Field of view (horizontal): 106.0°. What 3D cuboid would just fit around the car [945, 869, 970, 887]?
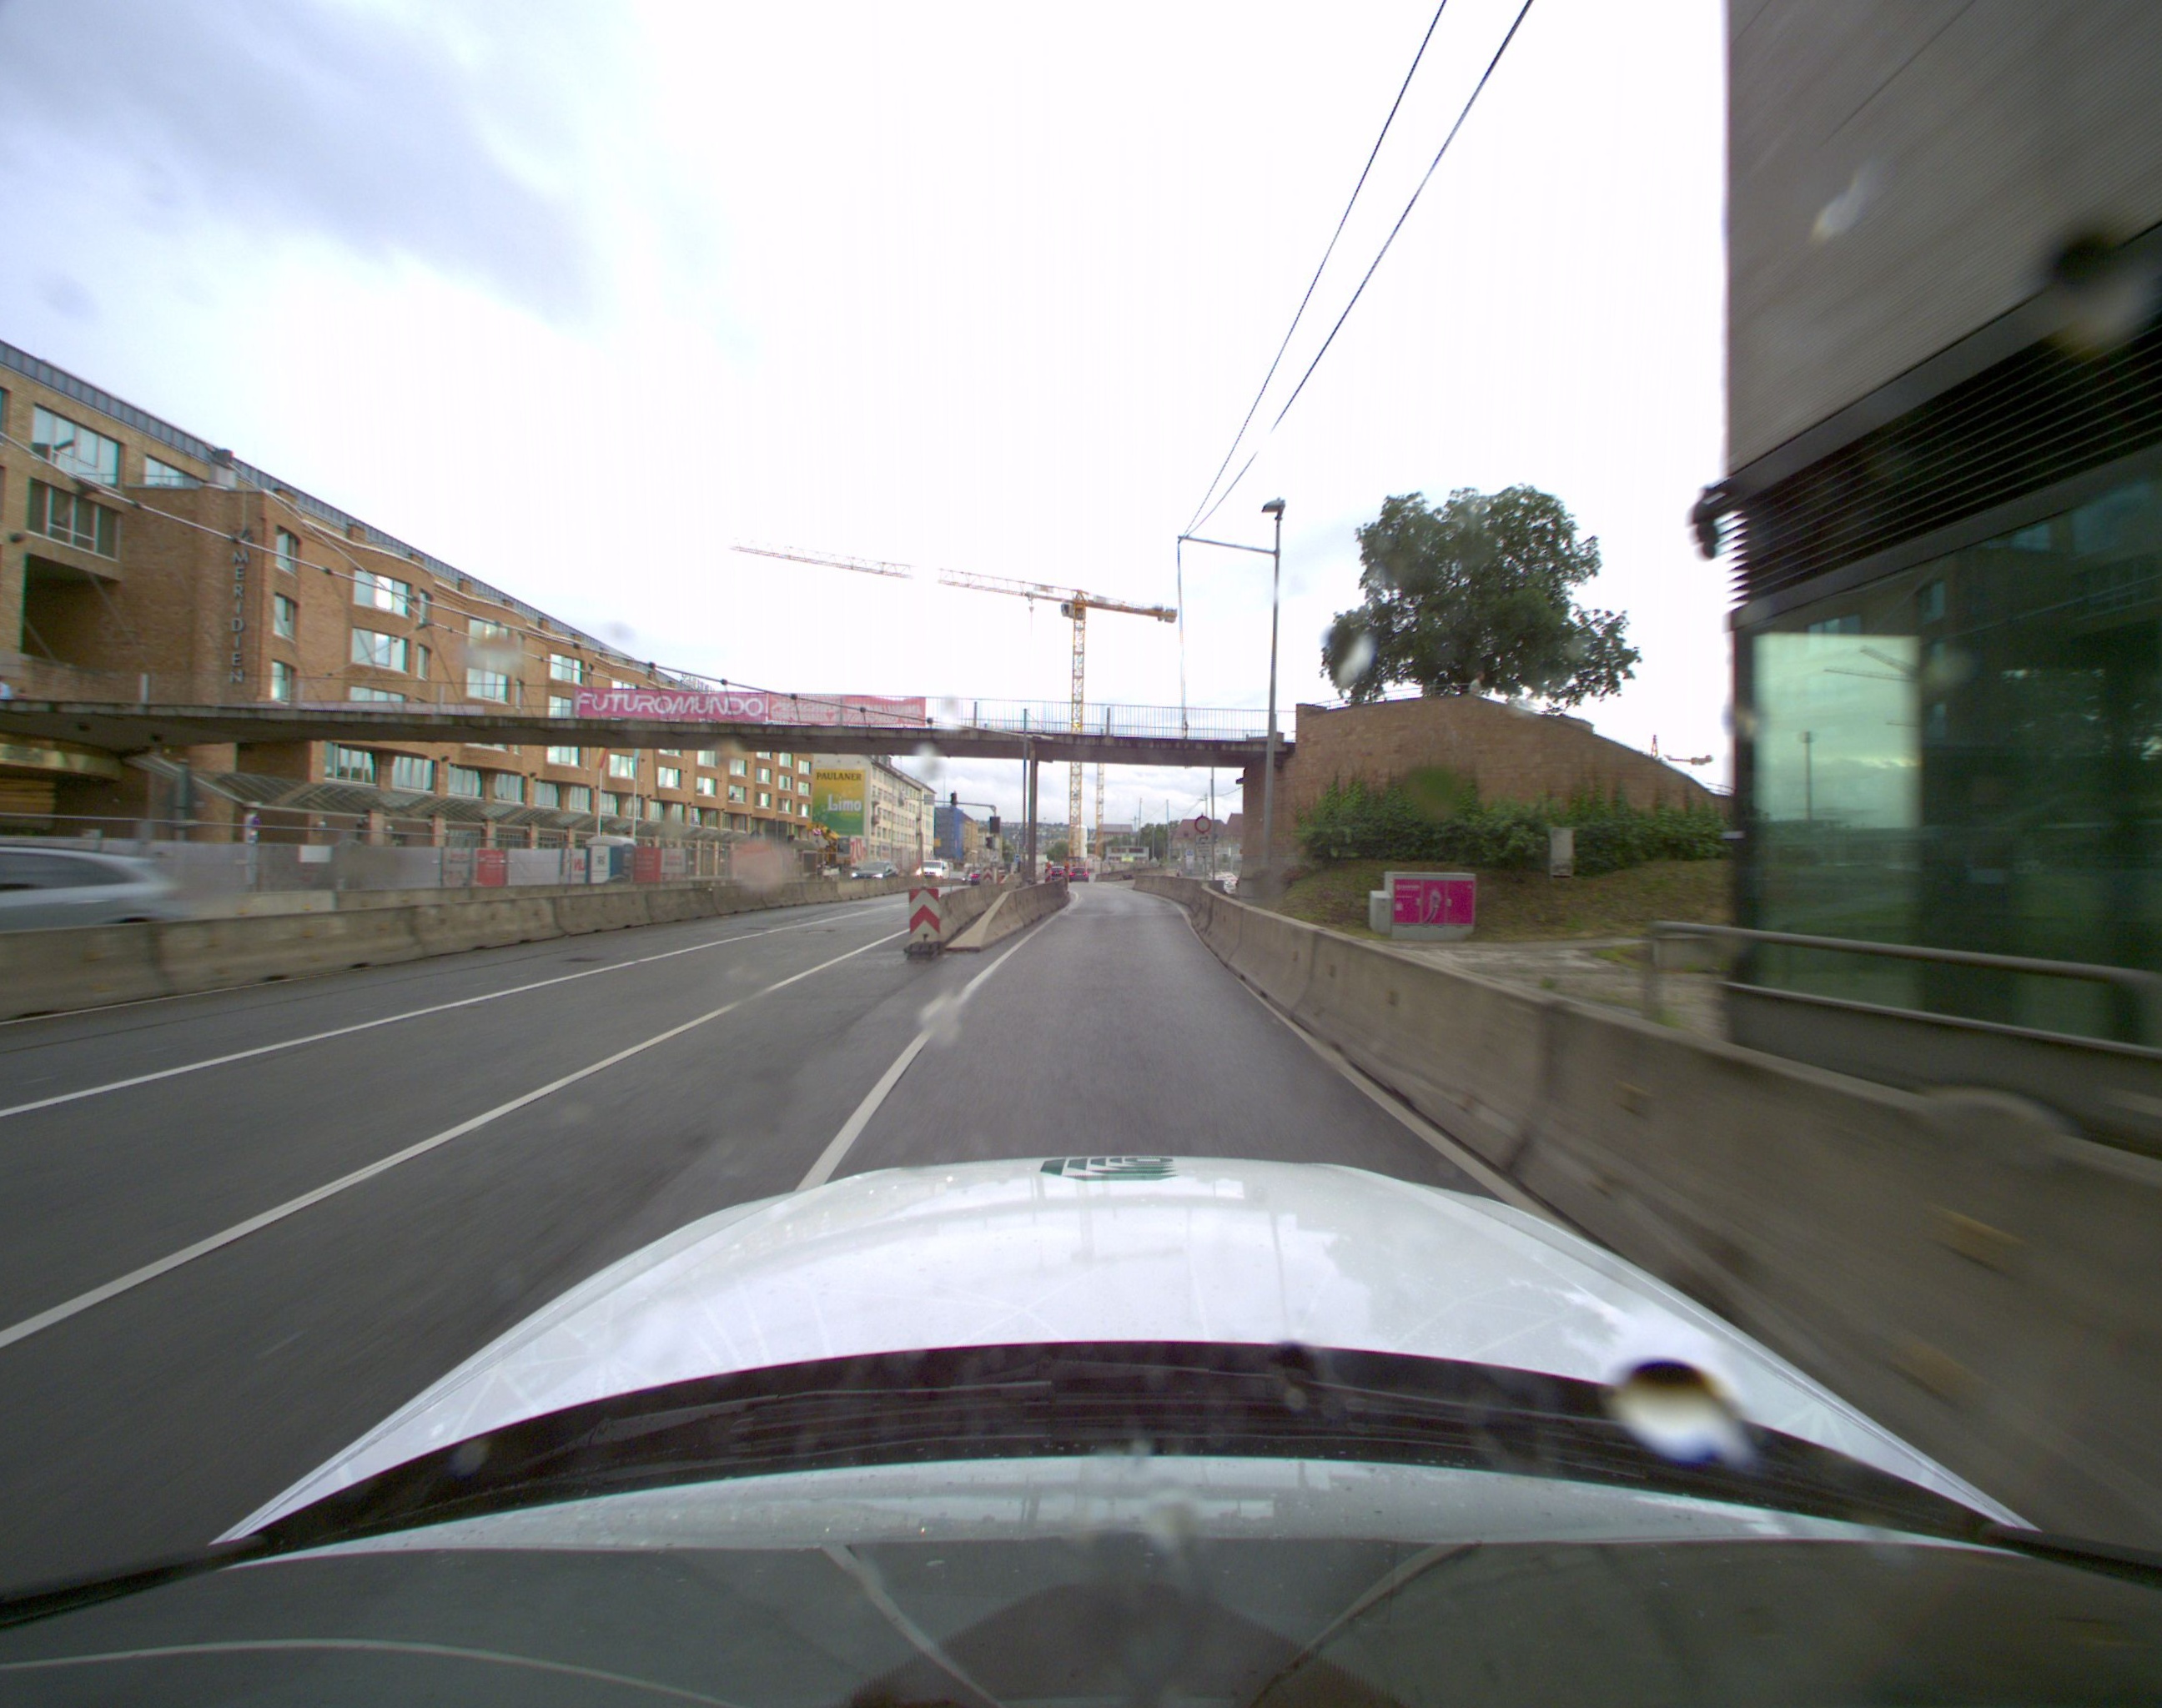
[{"bbox_3d":[-12.225,2.364,80.717,1.799,1.623,4.035,0,0,1],"label":"car"}]

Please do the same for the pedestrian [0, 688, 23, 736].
[{"bbox_3d":[-35.669,-4.688,26.889,0.618,1.452,0.619,-1,-1,2],"label":"pedestrian"}]

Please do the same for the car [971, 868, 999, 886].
[{"bbox_3d":[-8.242,1.984,70.234,1.856,1.443,4.656,1,-1,0],"label":"car"}]

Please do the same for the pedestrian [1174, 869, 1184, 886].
[{"bbox_3d":[9.869,2.387,82.341,0.692,1.778,0.810,0,-2,-19],"label":"pedestrian"}]

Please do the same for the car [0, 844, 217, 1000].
[{"bbox_3d":[-12.246,0.711,8.213,1.986,1.623,4.703,0,0,1],"label":"car"}]

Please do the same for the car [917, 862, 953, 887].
[{"bbox_3d":[-11.540,1.582,64.736,1.799,1.821,5.302,0,0,1],"label":"car"}]

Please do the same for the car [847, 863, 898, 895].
[{"bbox_3d":[-11.773,1.379,46.161,1.799,1.623,3.904,0,0,1],"label":"car"}]

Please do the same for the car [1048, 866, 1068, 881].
[{"bbox_3d":[-2.631,2.272,94.222,1.855,1.661,4.660,1,-1,3],"label":"car"}]

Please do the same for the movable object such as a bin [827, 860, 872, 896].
[{"bbox_3d":[-15.978,1.639,56.455,2.022,2.277,4.287,-3,-1,-4],"label":"movable object such as a bin"}]

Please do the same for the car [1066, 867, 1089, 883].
[{"bbox_3d":[-0.343,1.889,74.208,1.859,1.433,4.650,1,-1,-4],"label":"car"}]

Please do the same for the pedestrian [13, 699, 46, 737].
[{"bbox_3d":[-35.658,-4.599,27.625,0.473,1.194,0.484,-1,-1,2],"label":"pedestrian"}]
